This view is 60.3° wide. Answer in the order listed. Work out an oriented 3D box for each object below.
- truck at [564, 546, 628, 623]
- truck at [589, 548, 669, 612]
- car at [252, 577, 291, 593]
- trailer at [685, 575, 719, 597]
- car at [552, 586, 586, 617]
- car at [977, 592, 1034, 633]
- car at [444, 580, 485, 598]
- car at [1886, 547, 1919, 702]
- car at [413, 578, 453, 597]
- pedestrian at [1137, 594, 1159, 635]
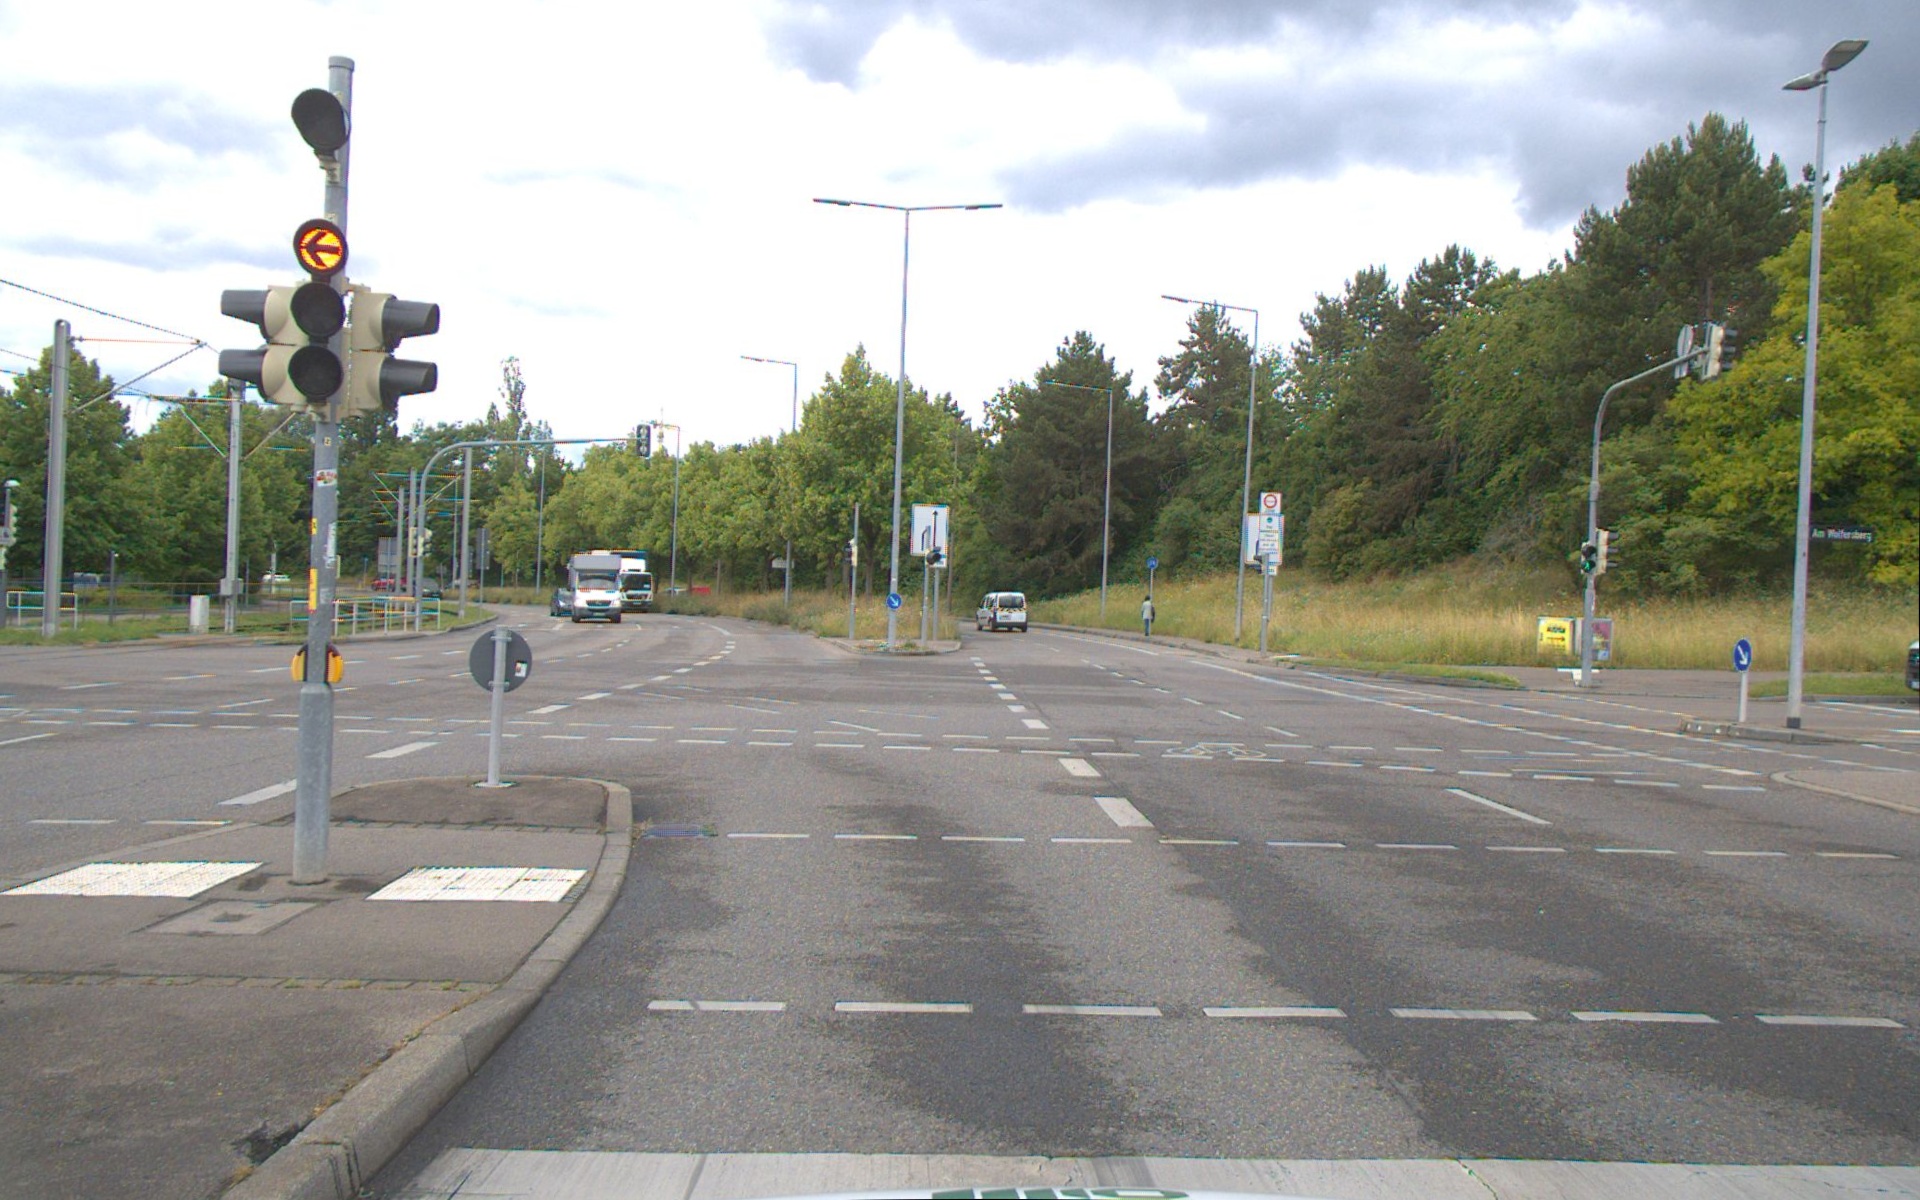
[{"bbox_3d":[-15.880,-0.640,71.970,2.083,3.190,5.869,1,0,-18],"label":"truck"},{"bbox_3d":[-21.538,-1.212,107.018,3.005,3.826,12.734,1,0,-21],"label":"truck"},{"bbox_3d":[-72.244,-1.561,173.465,3.938,1.573,1.780,1,0,31],"label":"car"},{"bbox_3d":[-20.283,-1.126,129.832,1.745,1.644,3.016,1,0,-28],"label":"trailer"},{"bbox_3d":[-20.961,0.053,88.540,1.751,1.471,4.512,0,2,-14],"label":"car"},{"bbox_3d":[2.117,0.593,78.023,1.956,1.833,4.831,0,0,-7],"label":"car"},{"bbox_3d":[-47.355,-1.057,158.167,3.946,1.573,1.776,1,0,37],"label":"car"},{"bbox_3d":[20.335,0.466,30.090,5.772,2.830,2.135,0,0,-1],"label":"car"},{"bbox_3d":[-44.603,-1.076,139.851,1.769,1.471,4.465,-2,3,-39],"label":"car"},{"bbox_3d":[7.647,0.580,67.322,0.797,1.656,0.790,1,0,-1],"label":"pedestrian"}]
